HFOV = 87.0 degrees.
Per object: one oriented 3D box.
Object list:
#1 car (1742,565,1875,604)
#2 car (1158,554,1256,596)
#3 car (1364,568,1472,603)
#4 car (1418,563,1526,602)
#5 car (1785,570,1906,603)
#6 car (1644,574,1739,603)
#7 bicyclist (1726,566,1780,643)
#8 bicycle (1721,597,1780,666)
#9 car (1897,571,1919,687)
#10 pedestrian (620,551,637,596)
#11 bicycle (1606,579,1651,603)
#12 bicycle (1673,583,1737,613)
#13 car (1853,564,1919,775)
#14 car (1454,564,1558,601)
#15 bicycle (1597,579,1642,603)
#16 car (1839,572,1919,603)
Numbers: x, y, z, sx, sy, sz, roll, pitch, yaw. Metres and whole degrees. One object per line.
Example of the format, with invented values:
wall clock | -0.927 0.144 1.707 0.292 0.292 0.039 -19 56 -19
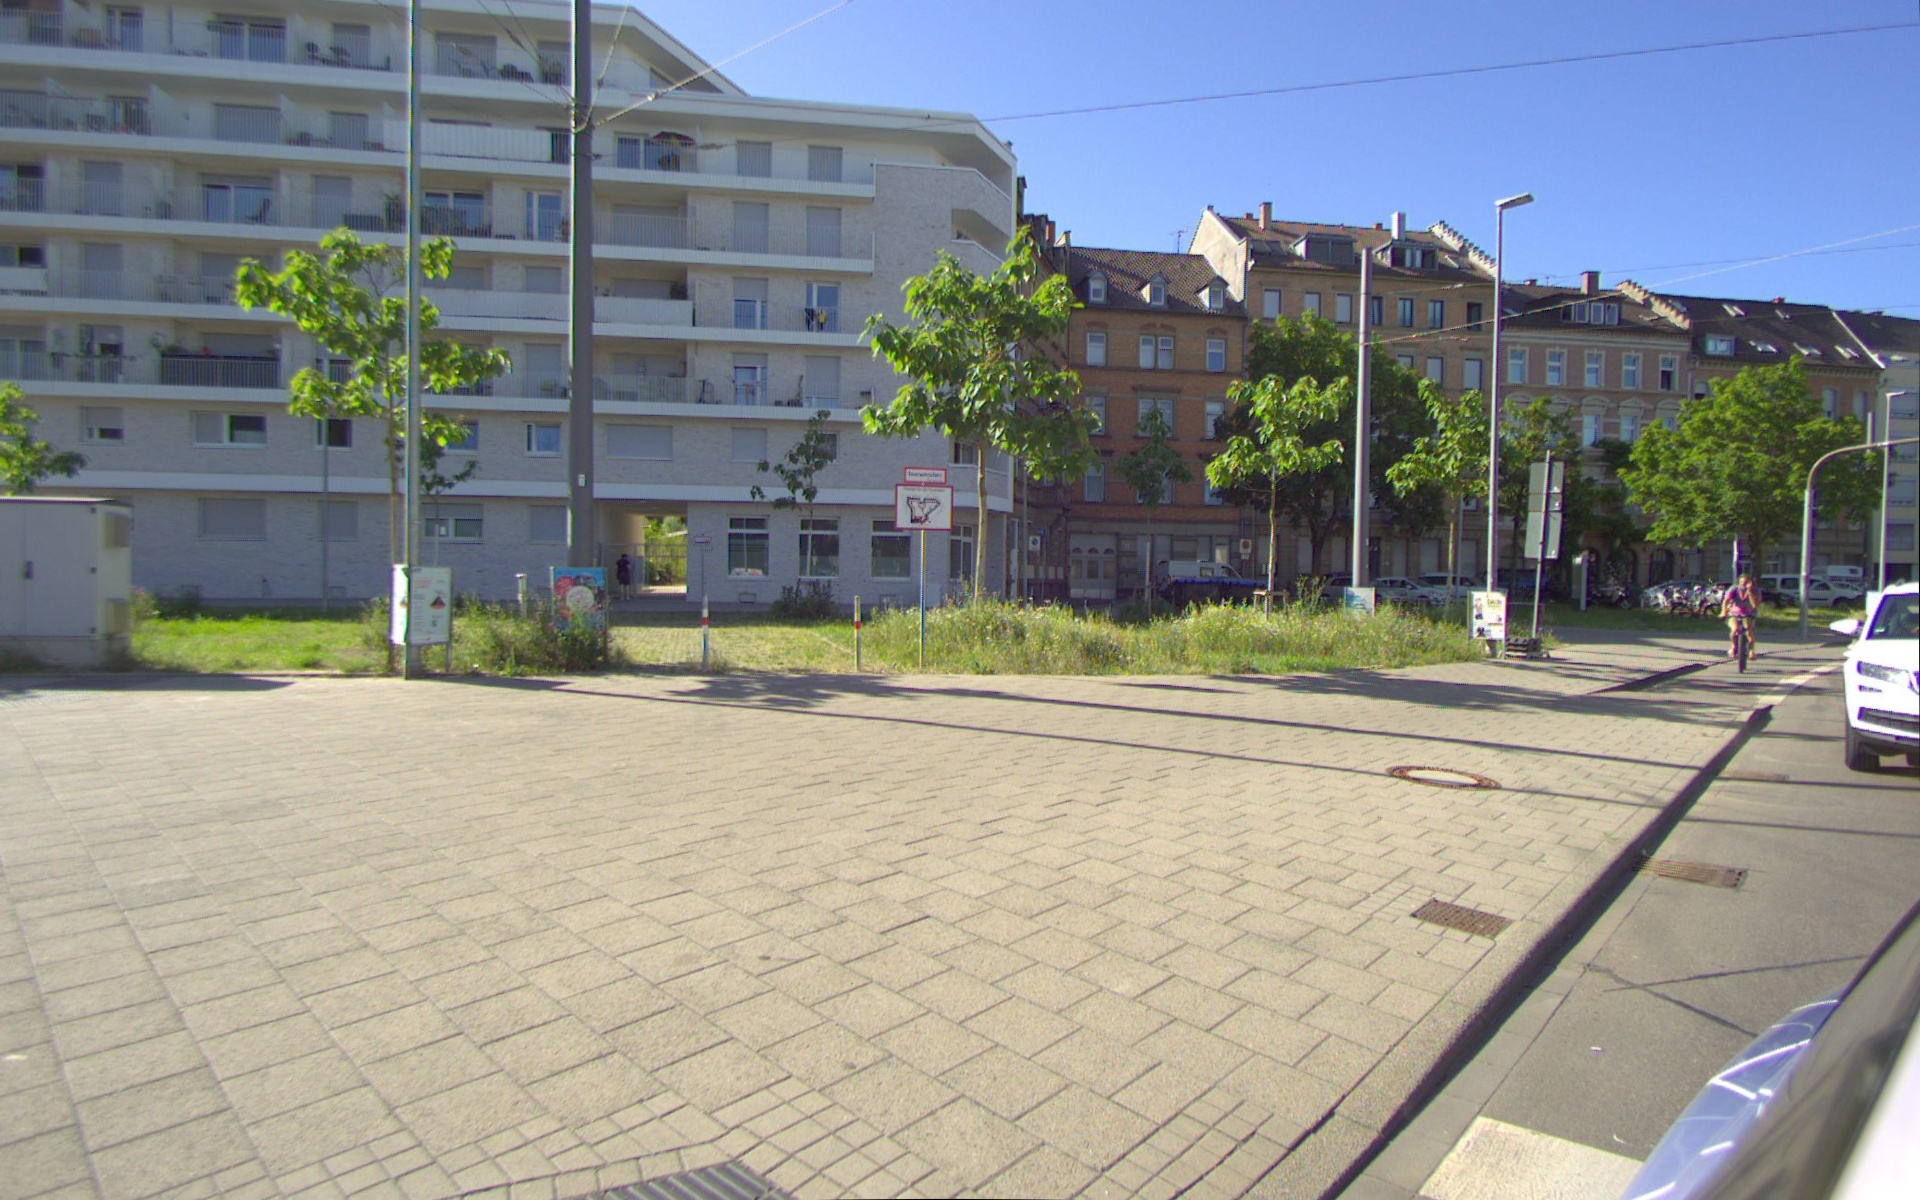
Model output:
car | 41.130 -0.770 49.149 1.704 1.793 4.782 -1 2 -44
car | 12.869 -1.289 52.857 4.548 2.139 2.003 0 1 -7
car | 20.584 -0.677 45.571 1.967 1.482 3.990 -1 2 -44
car | 23.253 -0.810 46.066 1.967 1.682 3.990 -1 2 -44
car | 43.928 -0.697 50.279 1.967 1.525 4.390 -1 2 -44
car | 34.996 -0.575 48.457 1.704 1.349 3.457 -1 2 -44
bicyclist | 15.076 0.066 19.236 0.694 1.393 0.727 4 4 43
bicycle | 14.917 0.569 19.085 0.694 1.118 1.981 4 5 42
car | 14.881 0.387 14.670 1.869 1.575 3.938 2 2 43
pedestrian | -12.486 -1.006 38.084 0.512 1.668 0.471 0 1 -4
bicycle | 30.106 -0.414 45.620 0.442 1.037 1.766 0 1 -21
bicycle | 26.780 -0.077 36.406 1.738 1.037 0.566 1 1 18
car | 9.347 0.517 9.087 1.868 1.651 4.271 0 1 43
car | 26.272 -0.853 48.778 1.967 1.682 3.990 -1 2 -44
bicycle | 29.372 -0.404 45.100 0.442 1.037 1.766 0 1 -21
car | 46.969 -0.647 50.605 1.967 1.479 4.390 -1 2 -44
